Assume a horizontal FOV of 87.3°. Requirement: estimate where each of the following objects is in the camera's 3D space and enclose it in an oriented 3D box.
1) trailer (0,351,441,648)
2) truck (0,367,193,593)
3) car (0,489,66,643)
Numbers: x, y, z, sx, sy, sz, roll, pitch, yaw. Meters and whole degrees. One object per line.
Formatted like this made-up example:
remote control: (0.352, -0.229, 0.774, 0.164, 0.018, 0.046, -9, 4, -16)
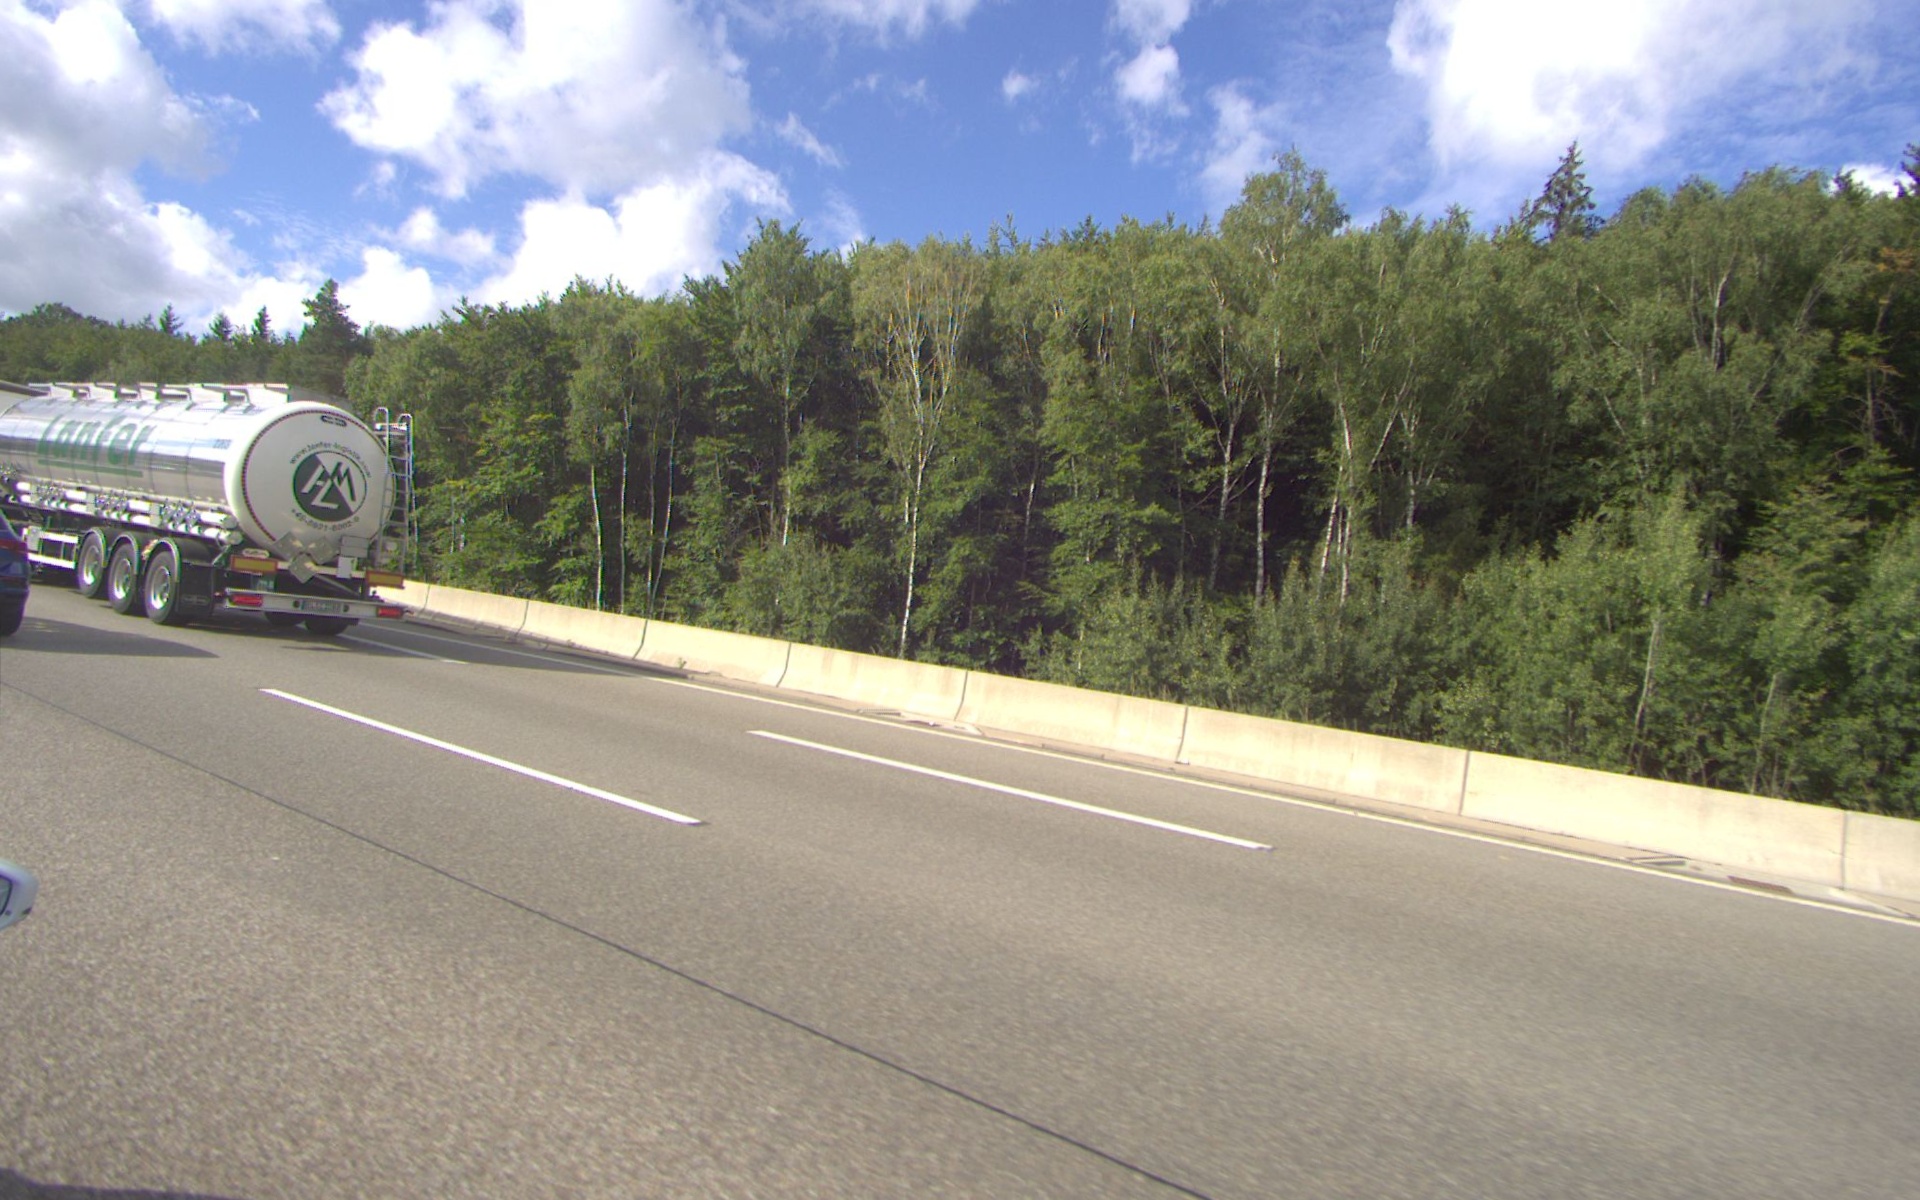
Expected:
trailer: (-13.749, -1.837, 17.516, 11.666, 3.813, 2.651, 7, 0, 33)
truck: (-18.947, -2.466, 20.906, 5.982, 3.870, 2.651, 7, 0, 33)
car: (-11.952, -0.602, 11.121, 4.383, 1.548, 1.776, 6, -1, 31)
